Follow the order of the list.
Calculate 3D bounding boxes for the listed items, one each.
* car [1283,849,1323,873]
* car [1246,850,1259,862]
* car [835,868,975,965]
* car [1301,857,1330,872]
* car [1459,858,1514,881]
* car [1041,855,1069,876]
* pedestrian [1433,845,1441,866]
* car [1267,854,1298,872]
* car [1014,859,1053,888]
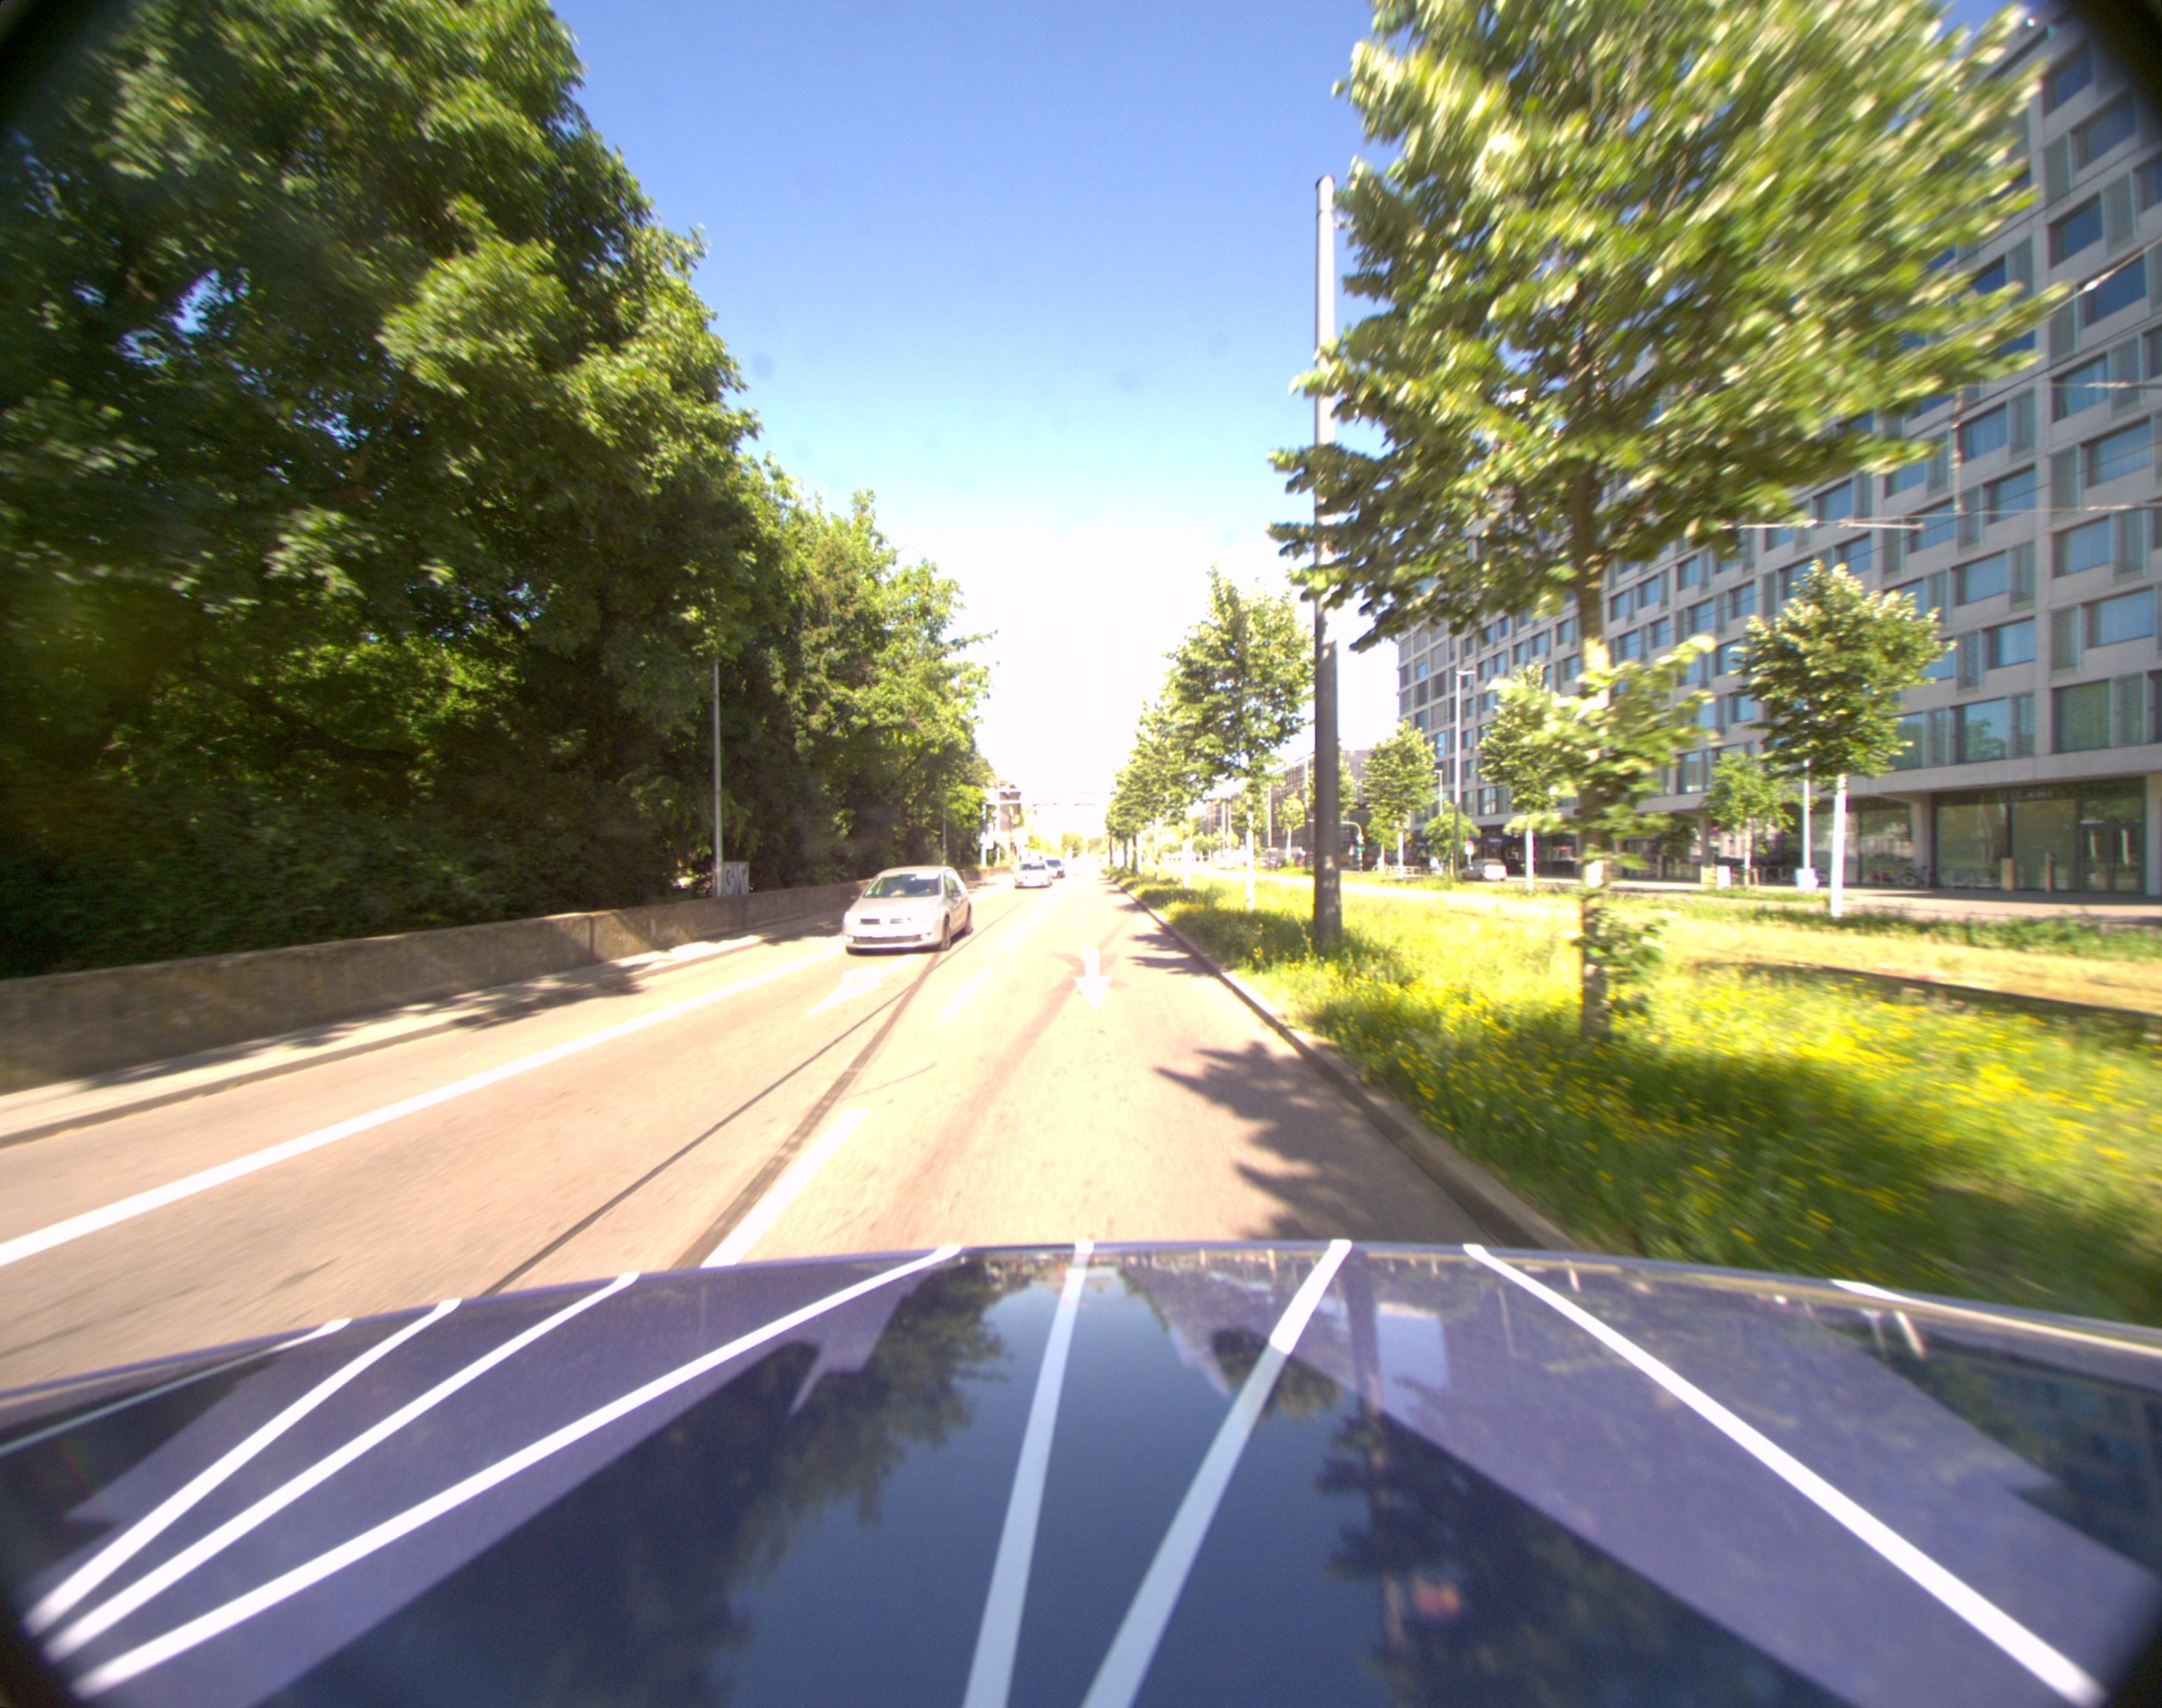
[{"bbox_3d":[17.651,0.550,60.721,1.998,1.808,4.286,-1,0,1],"label":"car"},{"bbox_3d":[25.446,0.338,112.789,1.776,1.664,3.893,-1,0,14],"label":"car"},{"bbox_3d":[-3.146,1.054,14.403,1.703,1.465,3.999,-1,0,0],"label":"car"},{"bbox_3d":[24.287,1.060,78.714,1.827,1.499,3.813,-1,0,0],"label":"car"},{"bbox_3d":[28.764,1.079,54.002,1.865,1.541,3.773,-1,0,0],"label":"car"},{"bbox_3d":[-1.994,0.838,58.008,1.999,1.493,3.999,0,0,-2],"label":"car"},{"bbox_3d":[30.992,0.143,66.184,0.509,1.829,0.515,-1,1,12],"label":"pedestrian"},{"bbox_3d":[17.890,0.797,67.717,1.729,1.543,4.000,-1,0,0],"label":"car"},{"bbox_3d":[-2.523,0.993,41.044,1.839,1.415,3.999,-1,0,0],"label":"car"}]
